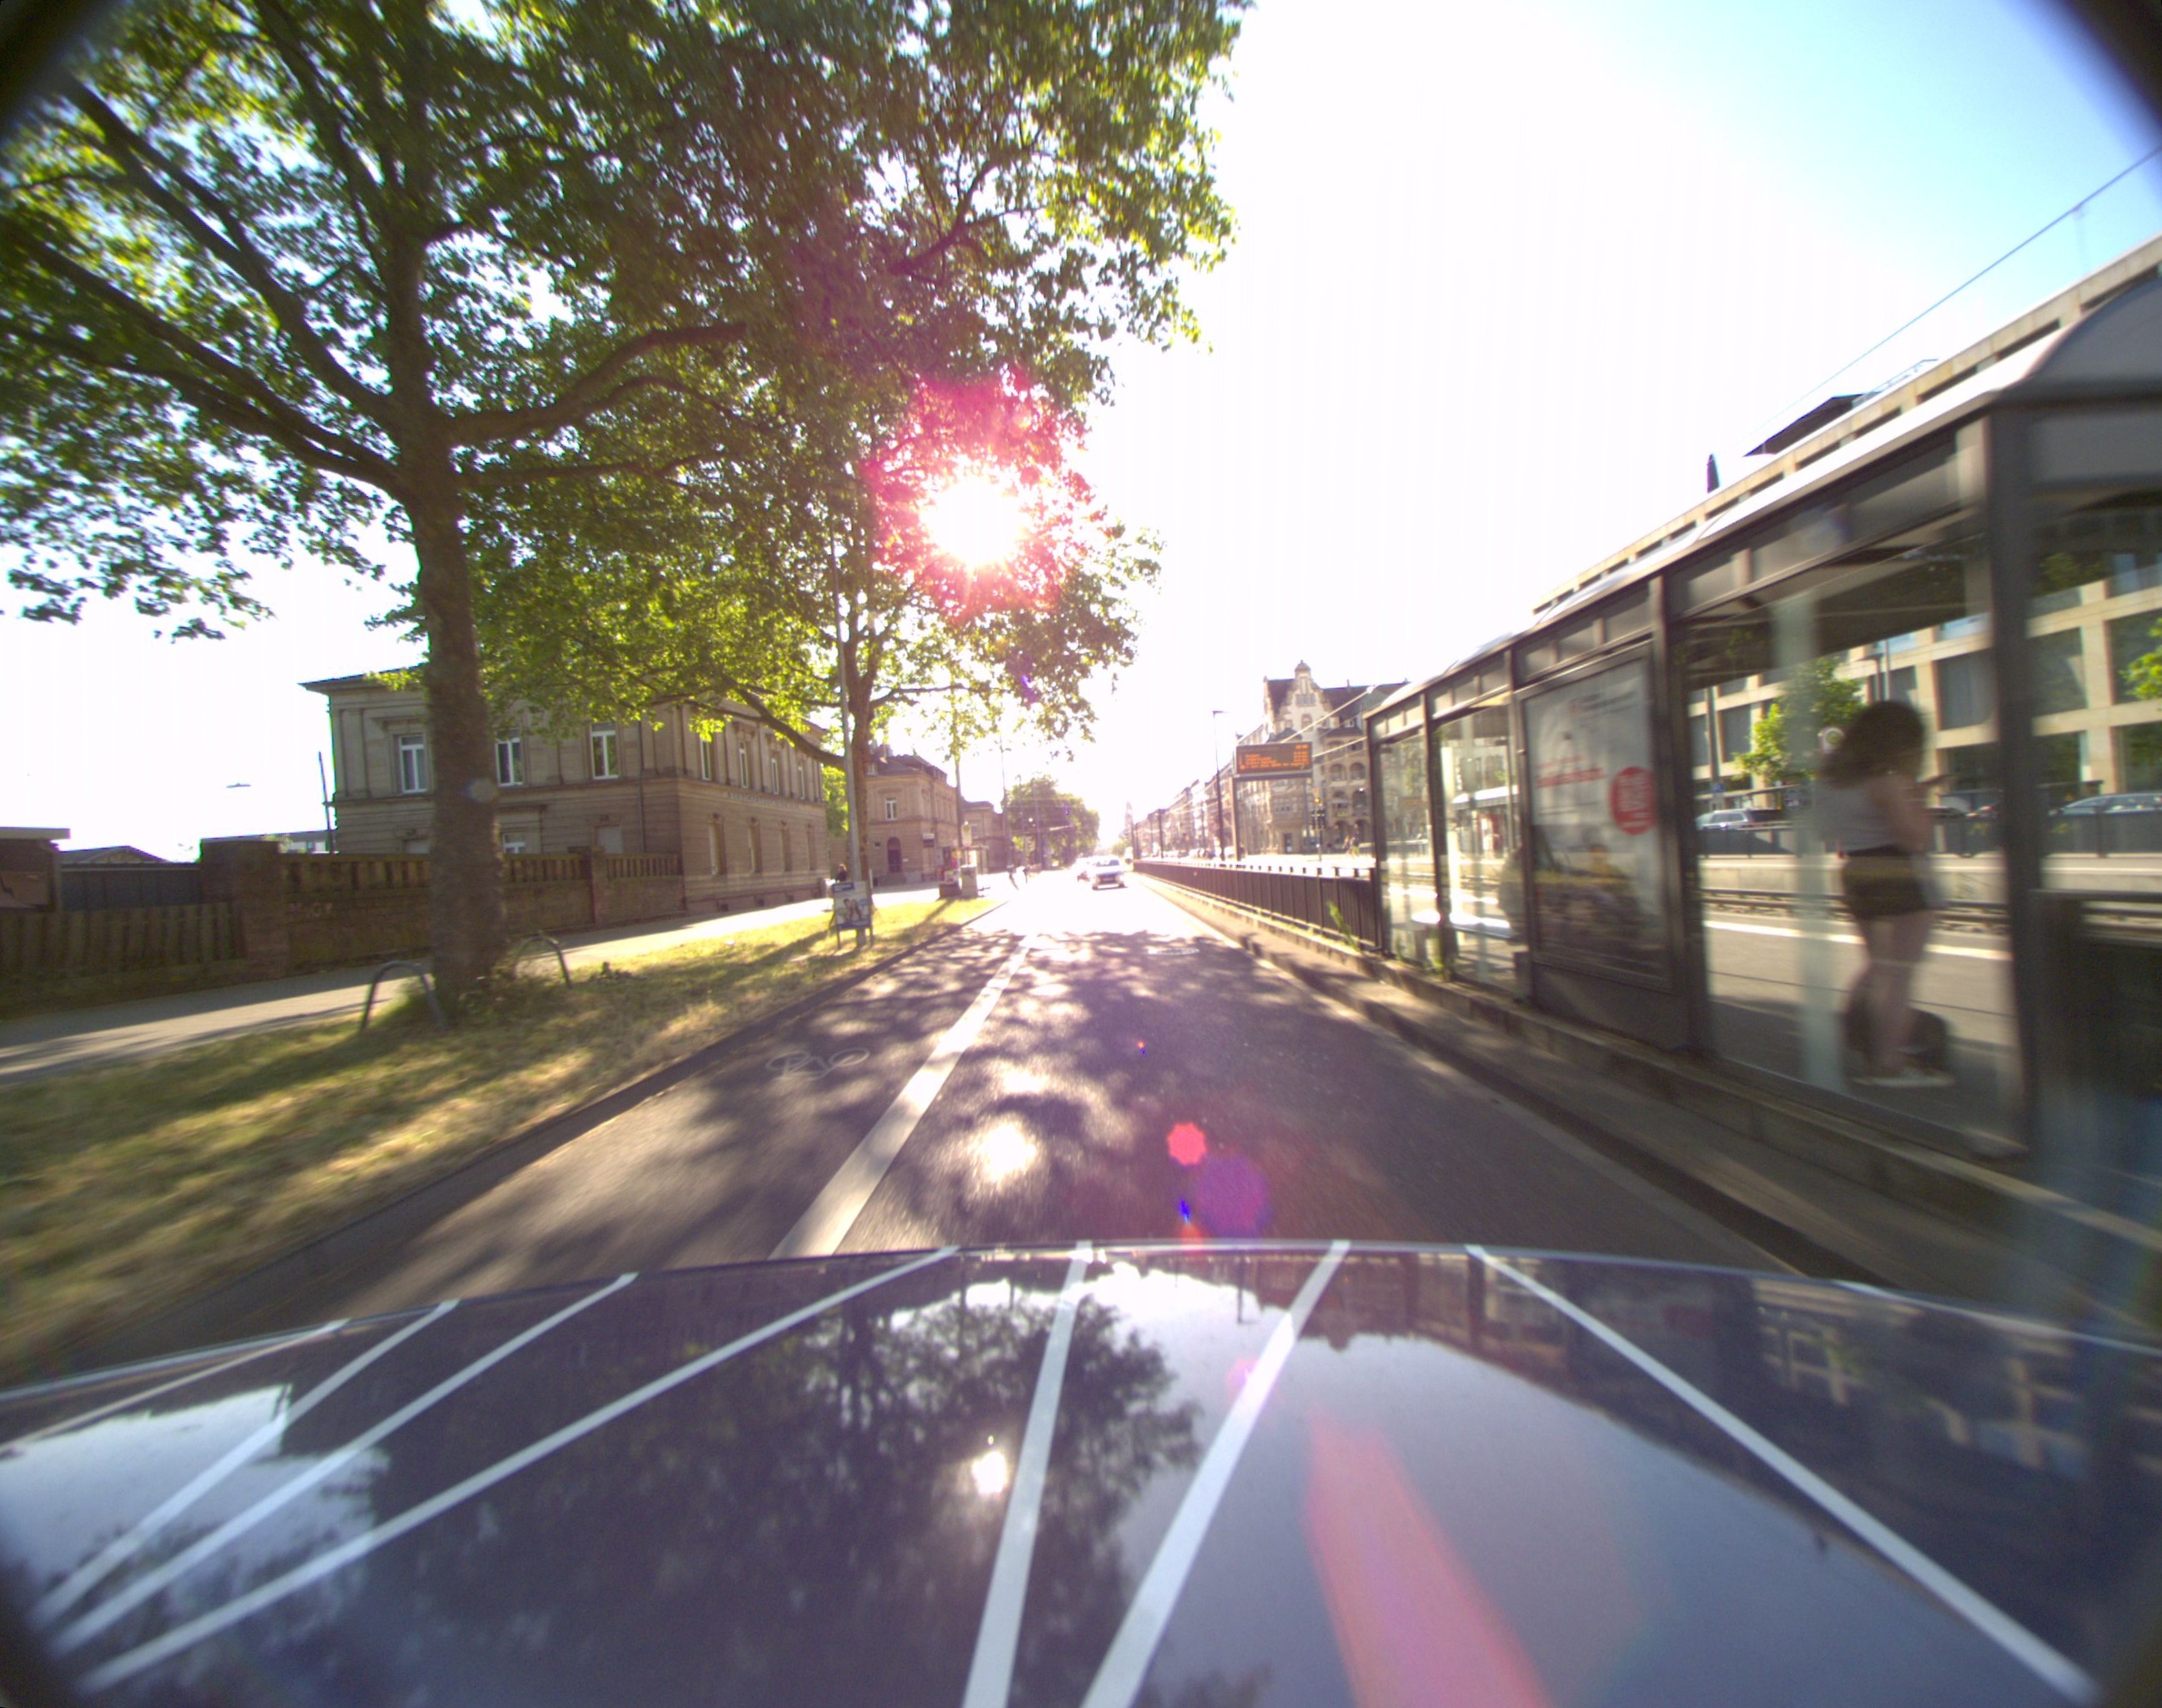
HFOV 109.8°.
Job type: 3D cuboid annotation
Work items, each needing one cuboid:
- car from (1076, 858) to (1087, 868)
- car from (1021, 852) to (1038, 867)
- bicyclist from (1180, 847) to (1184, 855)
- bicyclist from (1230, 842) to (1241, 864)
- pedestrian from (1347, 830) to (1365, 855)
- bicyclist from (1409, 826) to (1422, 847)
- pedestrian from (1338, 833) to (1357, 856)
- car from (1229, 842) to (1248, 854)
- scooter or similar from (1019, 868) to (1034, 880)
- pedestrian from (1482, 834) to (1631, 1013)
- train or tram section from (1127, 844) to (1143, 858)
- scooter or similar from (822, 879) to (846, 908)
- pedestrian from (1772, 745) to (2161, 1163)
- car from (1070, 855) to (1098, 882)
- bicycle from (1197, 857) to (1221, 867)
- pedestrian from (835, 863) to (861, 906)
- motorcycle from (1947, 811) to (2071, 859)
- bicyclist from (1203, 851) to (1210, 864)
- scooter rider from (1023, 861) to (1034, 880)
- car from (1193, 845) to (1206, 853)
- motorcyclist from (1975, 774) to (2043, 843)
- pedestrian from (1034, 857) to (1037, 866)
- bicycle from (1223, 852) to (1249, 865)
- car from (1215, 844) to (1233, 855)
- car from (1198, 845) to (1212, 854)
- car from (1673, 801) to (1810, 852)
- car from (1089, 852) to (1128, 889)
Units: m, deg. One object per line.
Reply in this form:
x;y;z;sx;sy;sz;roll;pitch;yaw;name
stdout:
0.184;1.662;142.696;1.833;1.645;4.000;-5;1;1;car
-7.805;0.811;115.990;1.833;2.034;4.000;-5;1;4;car
21.114;-0.553;158.891;0.684;1.609;0.630;-4;1;-3;bicyclist
11.816;-0.078;58.126;0.629;1.609;0.684;-4;1;9;bicyclist
18.588;-0.744;51.302;0.795;1.635;0.933;-4;0;2;pedestrian
29.291;-1.508;66.511;0.668;1.797;0.646;-4;1;-18;bicyclist
19.763;-0.714;56.293;0.933;1.635;0.795;-4;1;-12;pedestrian
23.578;-0.935;113.870;1.780;1.660;3.999;-4;0;-1;car
-4.028;1.513;56.334;1.023;0.807;0.265;-4;1;1;scooter or similar
3.625;0.510;5.834;0.743;1.266;0.524;-4;1;0;pedestrian
14.582;-0.662;206.480;2.781;3.378;19.475;-5;0;1;train or tram section
-10.086;1.602;31.003;0.720;1.149;0.759;-2;1;-5;scooter or similar
3.552;0.374;3.122;0.747;1.500;0.666;-3;1;3;pedestrian
0.187;0.898;49.111;1.649;1.555;3.666;-5;0;0;car
9.734;0.618;57.725;1.724;0.605;0.512;-5;1;10;bicycle
-9.555;1.243;31.167;0.771;1.734;0.796;-2;1;-5;pedestrian
21.459;-0.415;17.628;0.606;1.015;1.841;-4;0;2;motorcycle
9.515;0.282;57.791;0.462;0.987;0.511;-4;1;10;bicyclist
-3.880;1.214;56.416;0.703;1.389;0.600;-4;1;1;scooter rider
22.988;-0.945;147.863;1.741;1.516;4.000;-6;0;1;car
21.411;-1.033;17.544;0.577;1.524;0.765;-4;1;2;motorcyclist
-8.962;1.488;148.731;0.364;1.635;0.390;-4;1;1;pedestrian
11.876;0.337;58.125;1.888;0.873;0.608;-4;0;9;bicycle
23.460;-0.740;124.604;1.741;1.516;3.999;-6;0;-4;car
23.097;-0.889;141.706;1.741;1.516;4.000;-6;0;1;car
26.037;-1.026;30.144;1.922;1.759;4.000;-4;0;2;car
1.274;0.764;36.737;1.649;1.555;3.666;-5;0;0;car
